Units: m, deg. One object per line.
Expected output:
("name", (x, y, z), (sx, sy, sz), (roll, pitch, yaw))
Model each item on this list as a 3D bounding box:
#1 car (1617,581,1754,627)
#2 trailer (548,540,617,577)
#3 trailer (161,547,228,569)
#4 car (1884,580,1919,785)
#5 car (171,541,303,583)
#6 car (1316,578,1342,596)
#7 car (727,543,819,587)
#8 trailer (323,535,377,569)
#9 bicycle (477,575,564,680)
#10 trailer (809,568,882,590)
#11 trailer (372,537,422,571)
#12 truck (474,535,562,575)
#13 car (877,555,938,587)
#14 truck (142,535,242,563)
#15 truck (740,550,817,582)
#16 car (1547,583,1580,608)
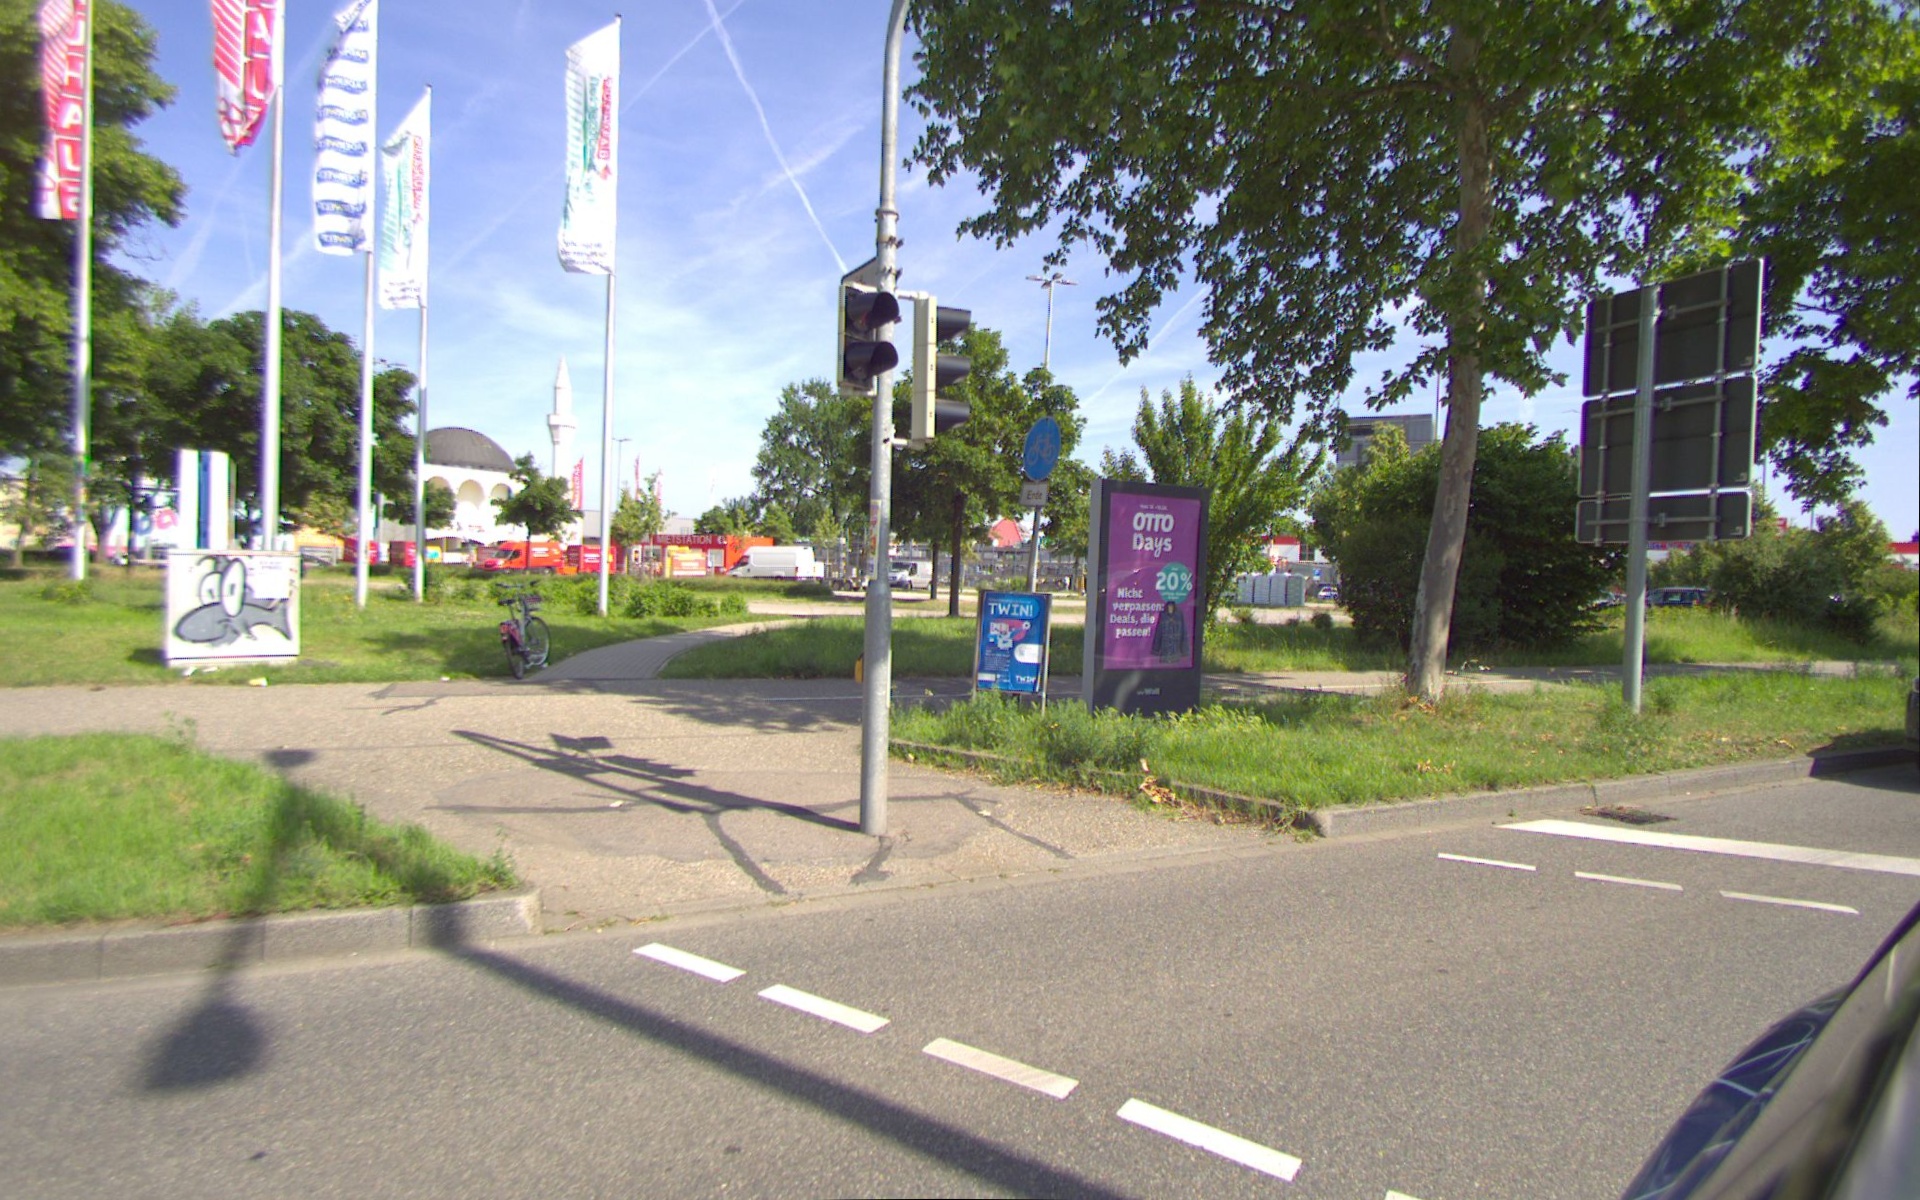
("car", (28.033, 0.118, 39.214), (1.813, 1.604, 3.865), (0, 2, -32))
("trailer", (-26.707, -2.912, 71.720), (1.738, 2.406, 4.362), (3, 2, 31))
("trailer", (-49.384, -2.728, 65.294), (4.365, 1.303, 1.578), (2, 2, 25))
("car", (10.127, 0.691, 8.716), (4.404, 1.680, 1.774), (0, 0, -27))
("car", (-28.887, -1.492, 40.522), (1.720, 1.606, 3.999), (2, 2, 36))
("car", (34.106, -1.200, 93.508), (1.674, 1.593, 3.962), (2, 2, 27))
("car", (-11.760, -2.221, 63.421), (5.633, 2.572, 2.002), (2, 4, 27))
("trailer", (-45.601, -3.594, 75.657), (4.376, 2.406, 1.574), (3, 1, 31))
("bicycle", (-5.319, 0.296, 12.331), (0.493, 1.121, 1.795), (1, 3, -8))
("trailer", (-6.876, -1.291, 60.806), (3.998, 1.135, 2.048), (3, 4, 30))
("trailer", (-43.442, -3.555, 78.044), (4.382, 2.387, 1.532), (3, 2, 34))
("truck", (-32.120, -3.240, 73.758), (1.999, 2.642, 5.978), (2, 1, 25))
("car", (-3.400, -1.872, 66.005), (1.856, 1.838, 4.788), (4, 2, 25))
("truck", (-60.540, -3.994, 79.919), (2.168, 1.854, 5.944), (0, 0, 29))
("truck", (-12.729, -2.368, 71.333), (2.050, 2.166, 5.803), (2, 2, 30))
("car", (41.480, -0.311, 69.606), (1.674, 1.593, 3.962), (2, 2, 27))
